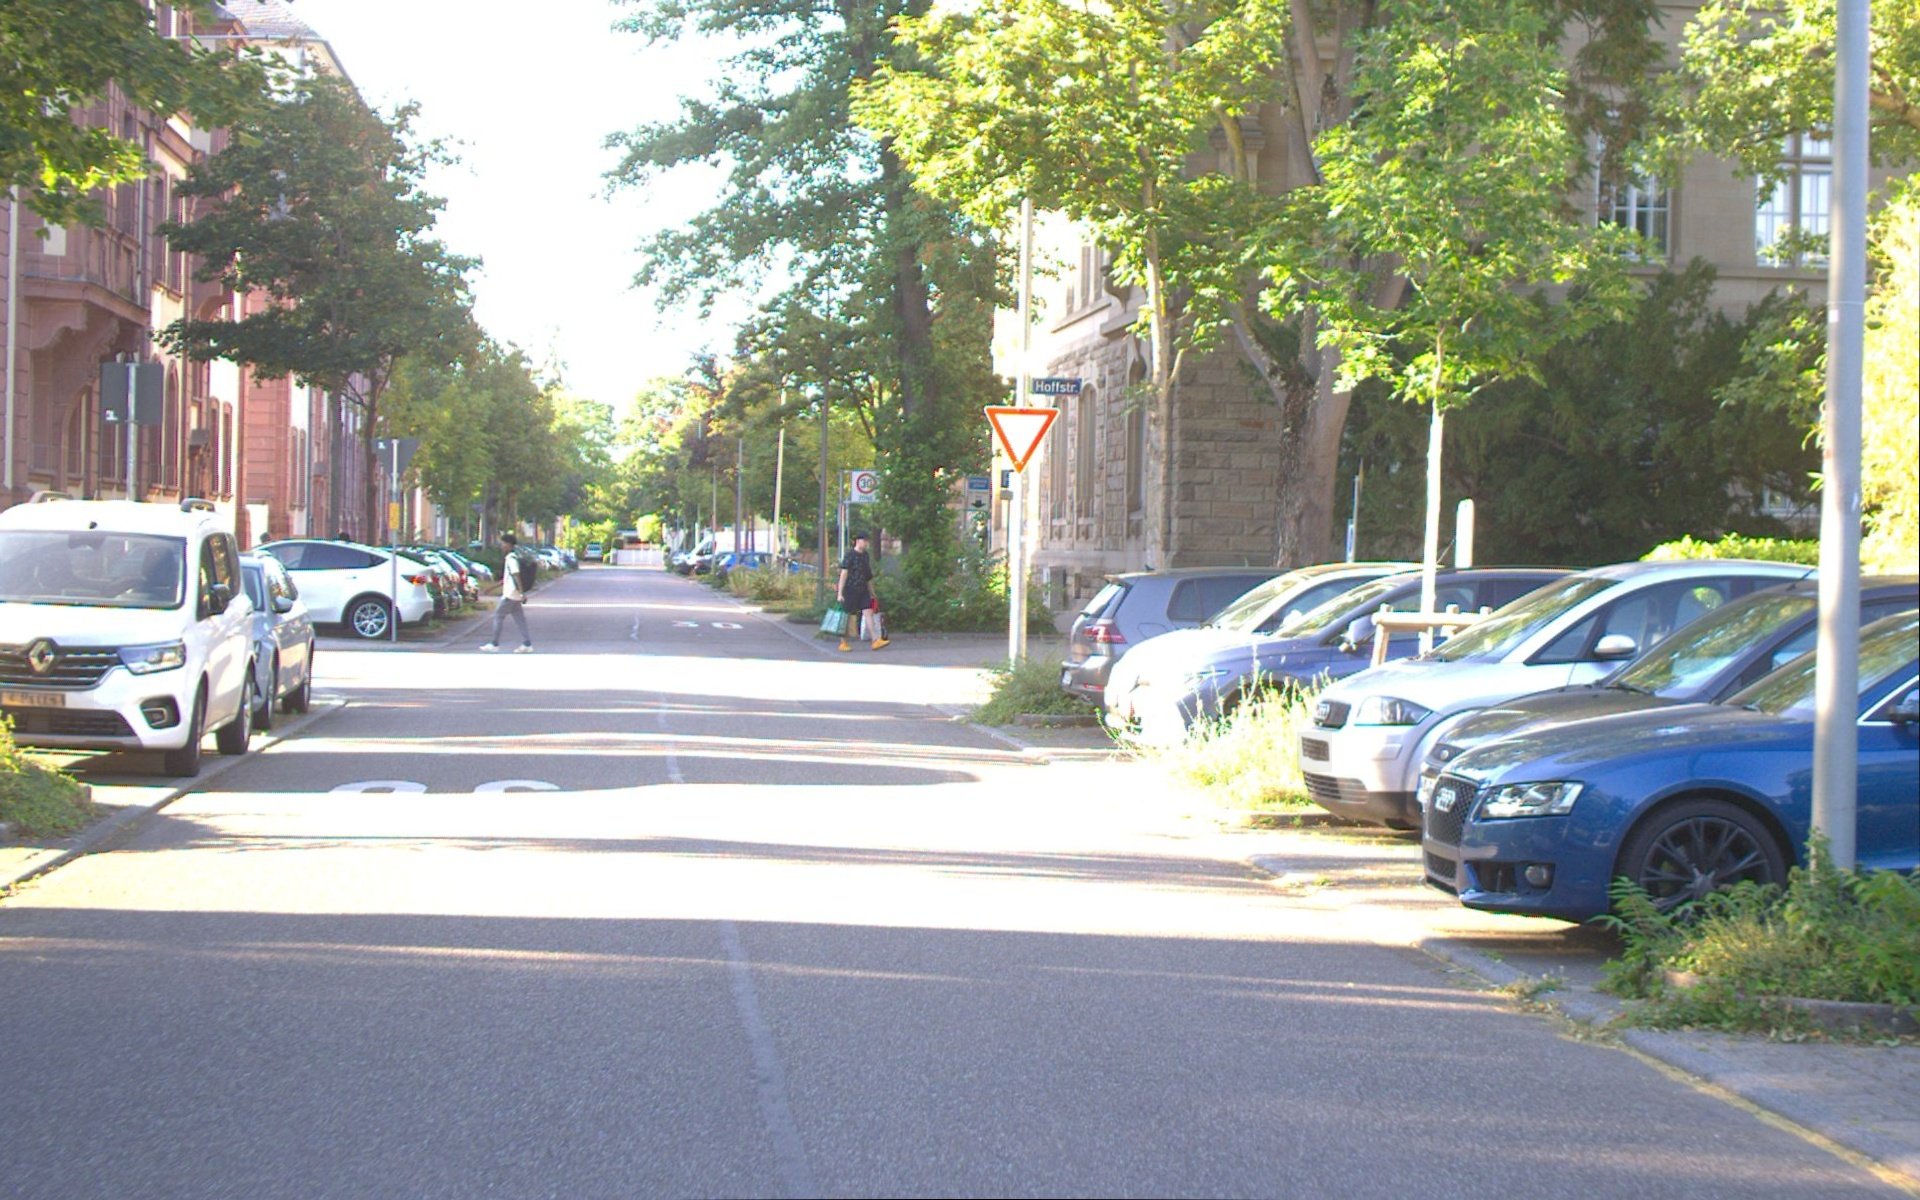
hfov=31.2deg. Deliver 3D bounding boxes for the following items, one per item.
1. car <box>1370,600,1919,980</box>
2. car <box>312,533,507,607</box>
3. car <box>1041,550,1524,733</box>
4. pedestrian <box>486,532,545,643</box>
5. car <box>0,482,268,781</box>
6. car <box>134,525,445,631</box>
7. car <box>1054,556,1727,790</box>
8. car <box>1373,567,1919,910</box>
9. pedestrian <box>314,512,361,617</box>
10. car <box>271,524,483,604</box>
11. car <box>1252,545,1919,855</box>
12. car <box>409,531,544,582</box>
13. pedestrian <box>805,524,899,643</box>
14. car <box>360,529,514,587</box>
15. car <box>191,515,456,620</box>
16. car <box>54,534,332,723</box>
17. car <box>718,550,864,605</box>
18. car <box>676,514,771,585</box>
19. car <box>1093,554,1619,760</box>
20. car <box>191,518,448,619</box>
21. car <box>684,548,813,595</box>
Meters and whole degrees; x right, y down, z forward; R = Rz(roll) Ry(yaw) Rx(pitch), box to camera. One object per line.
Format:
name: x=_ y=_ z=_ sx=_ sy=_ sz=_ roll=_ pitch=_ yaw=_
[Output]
car: x=4.140 y=0.706 z=14.098 sx=4.588 sy=1.410 sz=1.923 roll=-1 pitch=0 yaw=-4
car: x=-13.040 y=-0.720 z=81.672 sx=4.481 sy=1.602 sz=1.843 roll=2 pitch=1 yaw=-7
car: x=2.776 y=0.374 z=30.191 sx=3.953 sy=1.511 sz=1.874 roll=1 pitch=-1 yaw=-4
pedestrian: x=-6.515 y=-0.175 z=50.385 sx=0.784 sy=1.601 sz=0.721 roll=1 pitch=-1 yaw=-11
car: x=-5.907 y=0.150 z=23.669 sx=1.780 sy=1.834 sz=4.554 roll=1 pitch=1 yaw=-6
car: x=-10.910 y=-0.366 z=56.220 sx=4.841 sy=1.588 sz=1.843 roll=1 pitch=1 yaw=-7
car: x=3.078 y=0.512 z=25.069 sx=4.490 sy=1.544 sz=1.892 roll=1 pitch=1 yaw=-8
car: x=4.051 y=0.648 z=16.677 sx=3.680 sy=1.518 sz=1.792 roll=1 pitch=1 yaw=-9
pedestrian: x=-11.714 y=-0.664 z=64.721 sx=0.784 sy=1.955 sz=0.721 roll=1 pitch=-1 yaw=-13
car: x=-12.822 y=-0.796 z=75.807 sx=4.481 sy=1.602 sz=1.843 roll=2 pitch=1 yaw=-7
car: x=3.577 y=0.532 z=18.924 sx=3.492 sy=1.579 sz=1.763 roll=1 pitch=1 yaw=-15
car: x=-16.441 y=-1.486 z=117.027 sx=4.481 sy=1.602 sz=1.843 roll=2 pitch=1 yaw=-7
pedestrian: x=-1.724 y=-0.265 z=54.802 sx=1.060 sy=1.851 sz=1.002 roll=1 pitch=1 yaw=-37
car: x=-15.679 y=-1.272 z=103.180 sx=4.481 sy=1.602 sz=1.843 roll=2 pitch=1 yaw=-7
car: x=-11.205 y=-0.576 z=60.754 sx=4.481 sy=1.711 sz=1.843 roll=1 pitch=1 yaw=-7
car: x=-6.703 y=0.201 z=30.466 sx=1.780 sy=1.500 sz=4.553 roll=2 pitch=1 yaw=-5
car: x=-5.412 y=-0.720 z=109.724 sx=4.481 sy=1.602 sz=1.843 roll=2 pitch=1 yaw=-7
car: x=-12.571 y=-2.685 z=182.489 sx=4.885 sy=3.605 sz=1.842 roll=2 pitch=1 yaw=-6
car: x=3.128 y=0.432 z=27.638 sx=3.953 sy=1.511 sz=1.675 roll=1 pitch=1 yaw=-2
car: x=-11.676 y=-0.589 z=62.887 sx=4.481 sy=1.711 sz=1.843 roll=1 pitch=1 yaw=-7
car: x=-7.814 y=-1.061 z=126.617 sx=4.582 sy=1.602 sz=1.843 roll=2 pitch=1 yaw=-7
